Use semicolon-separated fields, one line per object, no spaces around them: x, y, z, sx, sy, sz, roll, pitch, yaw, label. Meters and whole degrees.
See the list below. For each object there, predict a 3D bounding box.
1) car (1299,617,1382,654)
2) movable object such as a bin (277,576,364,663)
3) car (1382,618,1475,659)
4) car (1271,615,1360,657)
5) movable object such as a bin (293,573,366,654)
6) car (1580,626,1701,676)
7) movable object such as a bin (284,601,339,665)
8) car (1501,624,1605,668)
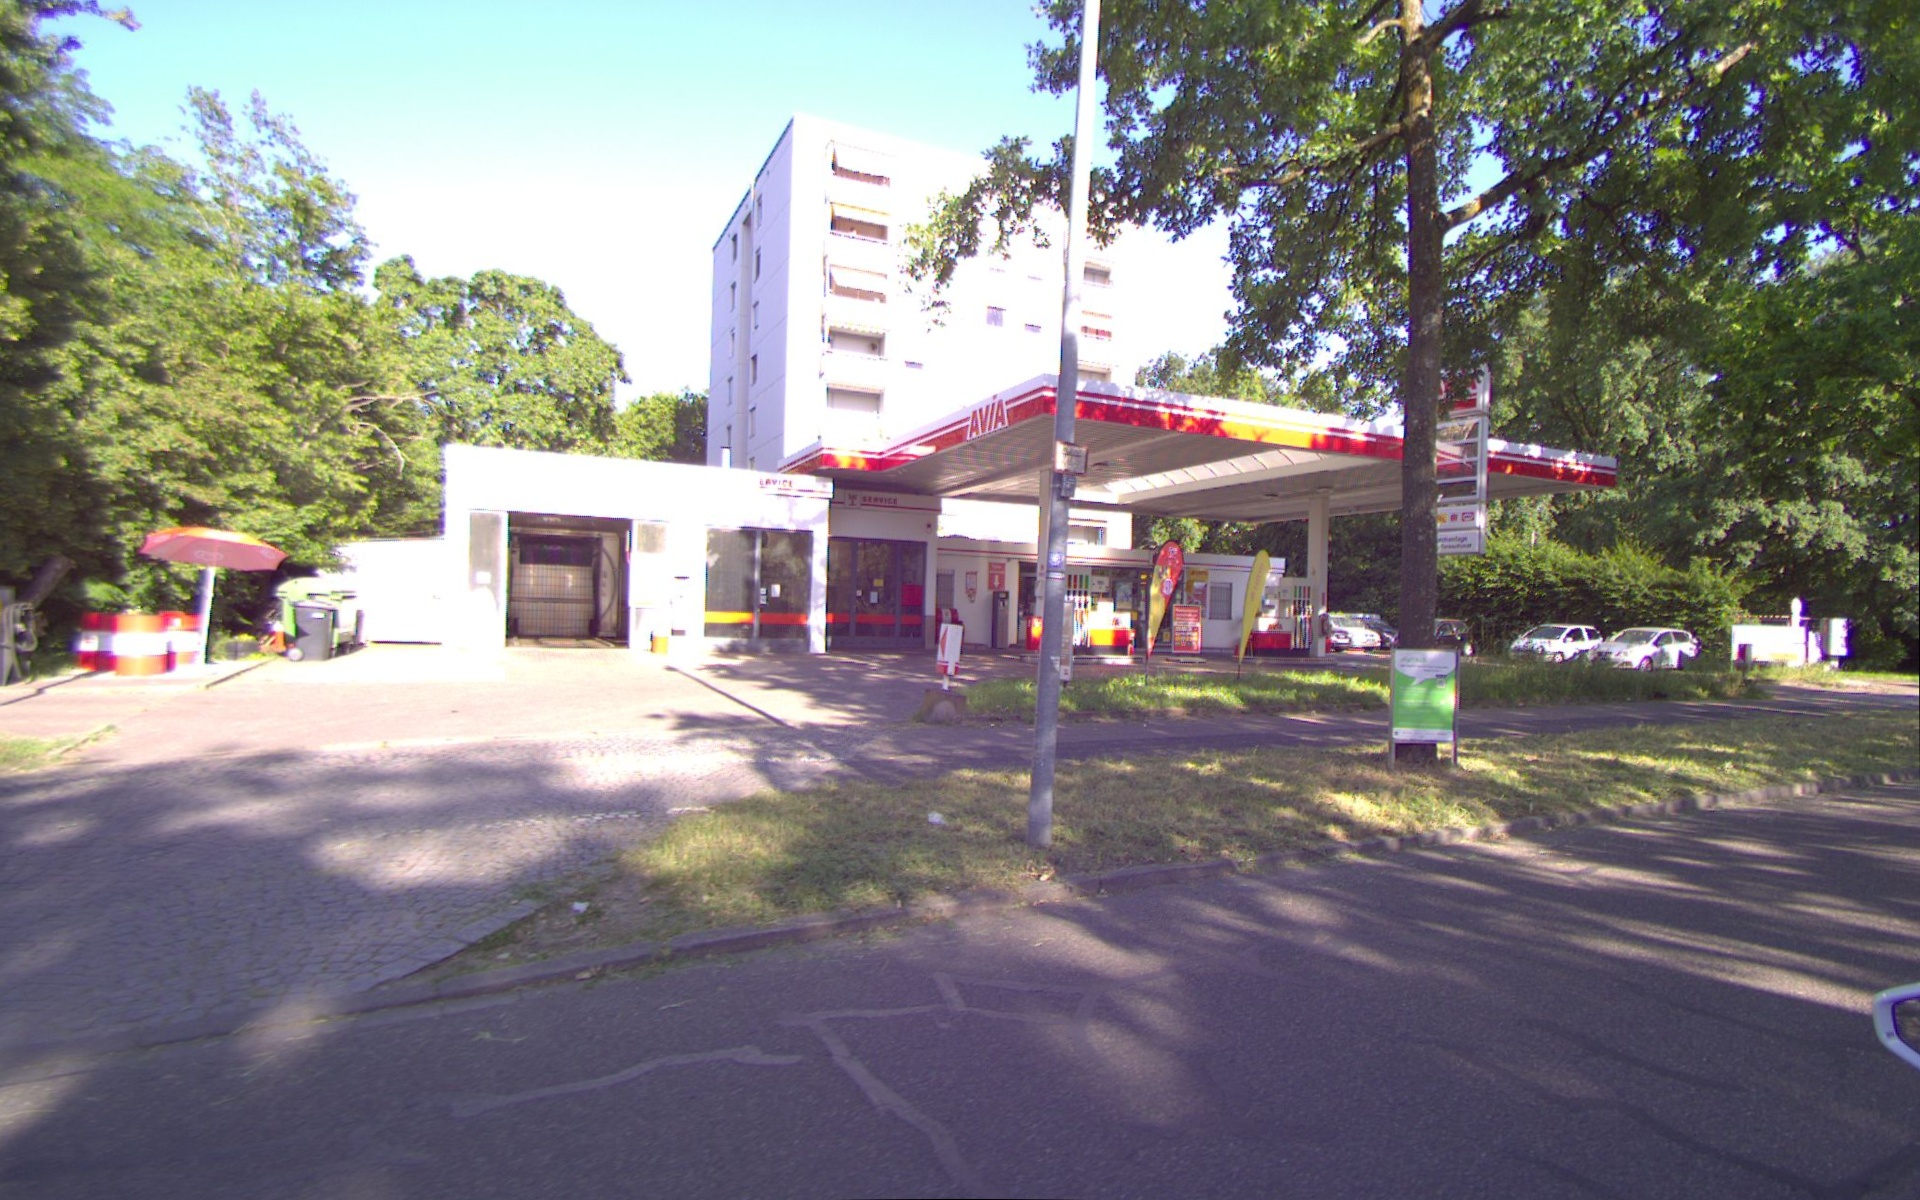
15.852;1.463;42.003;1.438;1.335;3.187;2;1;-22;car
-11.962;0.368;18.843;1.253;1.562;1.298;2;-1;-30;movable object such as a bin
17.763;1.464;38.077;3.159;1.386;1.419;2;1;-23;car
14.109;1.418;40.032;1.562;1.419;3.187;2;1;-22;car
-12.760;0.260;20.379;1.150;1.562;1.298;2;0;-30;movable object such as a bin
21.739;1.636;32.108;3.437;1.441;1.542;2;1;-23;car
-11.565;0.587;17.931;0.759;1.100;0.566;2;-1;-30;movable object such as a bin
20.296;1.573;34.372;3.159;1.386;1.419;2;1;-23;car
